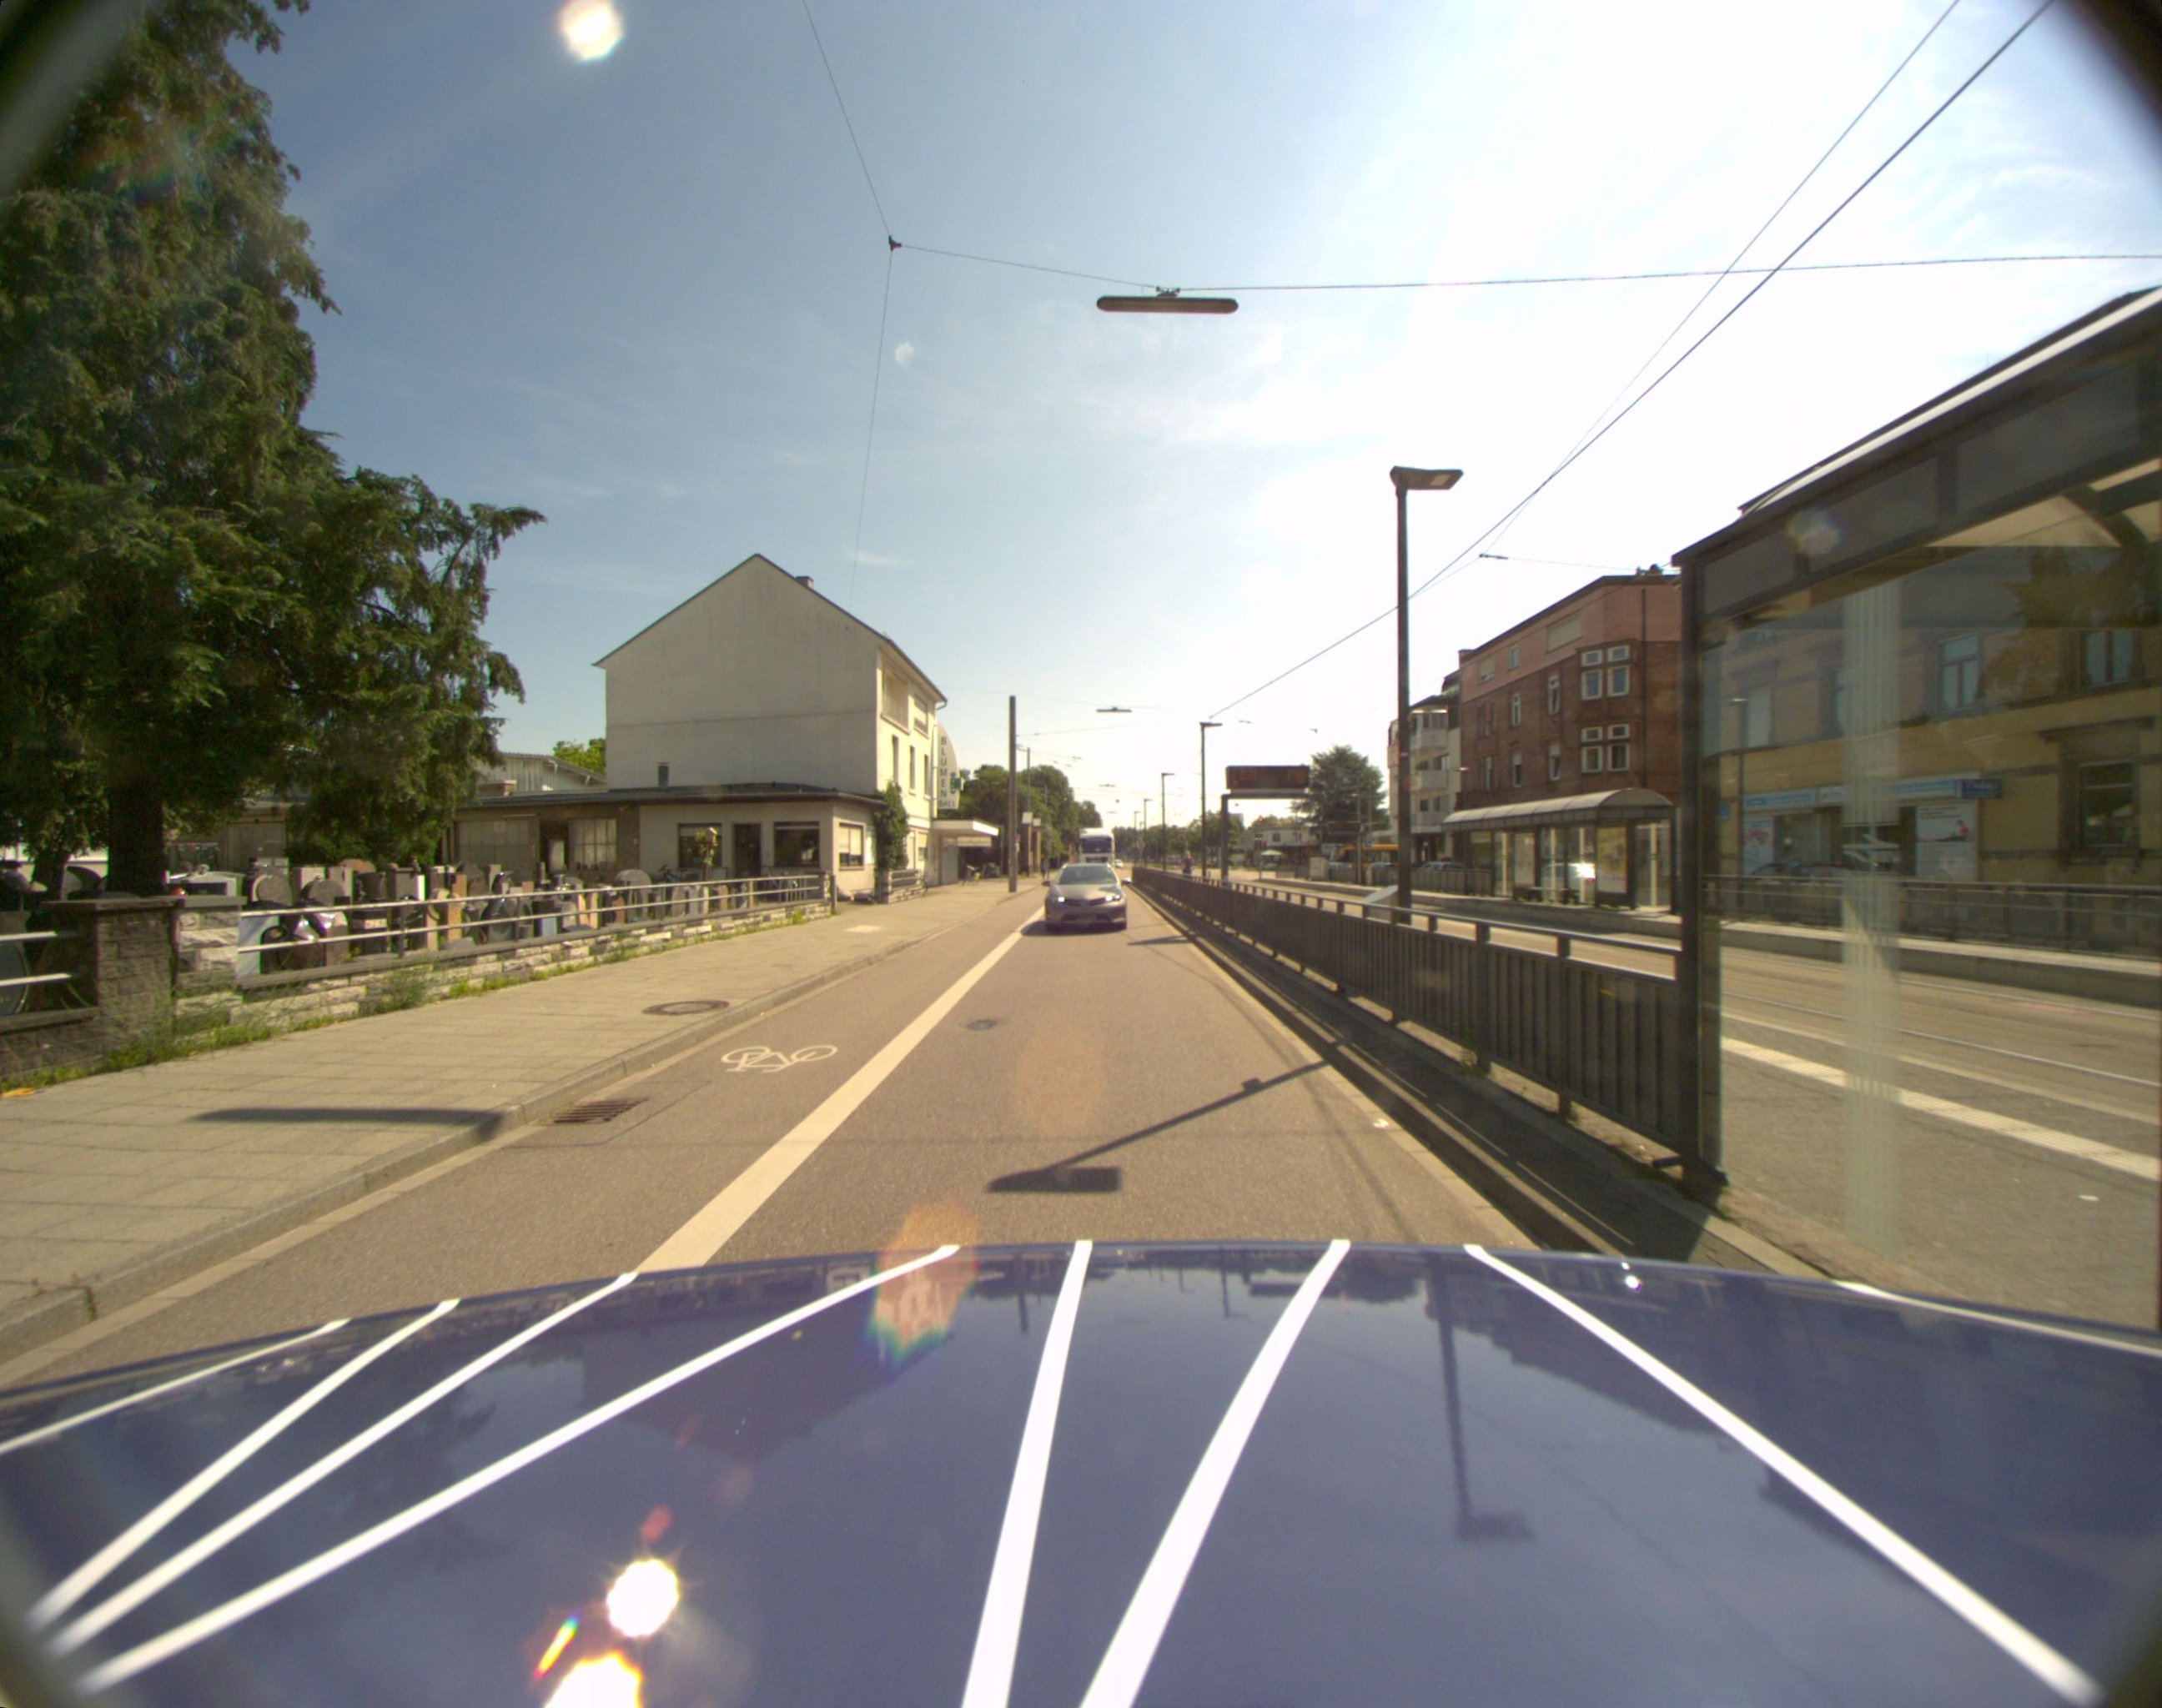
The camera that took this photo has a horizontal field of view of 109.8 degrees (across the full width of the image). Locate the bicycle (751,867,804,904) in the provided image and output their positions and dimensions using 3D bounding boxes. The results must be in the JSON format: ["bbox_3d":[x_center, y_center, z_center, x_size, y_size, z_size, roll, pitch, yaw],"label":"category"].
[{"bbox_3d":[-9.493,0.982,23.764,1.686,1.104,0.515,0,0,26],"label":"bicycle"}]

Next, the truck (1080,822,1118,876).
[{"bbox_3d":[1.356,-0.344,56.697,2.657,3.772,7.864,0,0,2],"label":"truck"}]

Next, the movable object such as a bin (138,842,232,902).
[{"bbox_3d":[-31.940,0.619,27.160,1.479,2.065,2.286,0,0,-30],"label":"movable object such as a bin"}]

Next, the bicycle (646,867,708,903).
[{"bbox_3d":[-12.923,0.985,24.320,1.689,1.104,0.512,1,0,3],"label":"bicycle"}]

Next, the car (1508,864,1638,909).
[{"bbox_3d":[16.878,1.067,26.370,1.635,1.355,4.521,0,0,1],"label":"car"}]

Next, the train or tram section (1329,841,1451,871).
[{"bbox_3d":[36.607,0.256,90.442,13.325,3.460,2.689,0,0,2],"label":"train or tram section"}]

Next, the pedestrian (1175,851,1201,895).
[{"bbox_3d":[4.651,0.815,33.052,0.983,1.847,1.238,0,0,1],"label":"pedestrian"}]

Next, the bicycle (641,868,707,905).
[{"bbox_3d":[-12.452,0.983,23.254,1.795,1.104,0.512,1,0,5],"label":"bicycle"}]

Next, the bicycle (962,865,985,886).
[{"bbox_3d":[-5.893,1.180,41.740,0.511,1.127,1.693,0,0,18],"label":"bicycle"}]

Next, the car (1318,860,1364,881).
[{"bbox_3d":[17.208,1.069,50.443,1.716,1.236,4.079,-2,0,1],"label":"car"}]

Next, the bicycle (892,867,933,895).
[{"bbox_3d":[-6.773,1.097,30.552,1.530,1.051,0.398,3,0,3],"label":"bicycle"}]

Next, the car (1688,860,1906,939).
[{"bbox_3d":[16.357,0.963,17.630,1.716,1.613,3.579,-2,0,2],"label":"car"}]

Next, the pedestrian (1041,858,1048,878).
[{"bbox_3d":[-2.932,1.100,61.195,0.499,1.616,0.500,1,0,9],"label":"pedestrian"}]

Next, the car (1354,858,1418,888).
[{"bbox_3d":[16.876,1.055,42.269,1.716,1.506,4.474,-2,-1,1],"label":"car"}]

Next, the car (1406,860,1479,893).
[{"bbox_3d":[16.687,1.015,35.244,1.629,1.460,3.866,-1,-1,2],"label":"car"}]

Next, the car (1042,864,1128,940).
[{"bbox_3d":[0.149,1.000,17.518,1.695,1.440,4.481,-1,0,2],"label":"car"}]
